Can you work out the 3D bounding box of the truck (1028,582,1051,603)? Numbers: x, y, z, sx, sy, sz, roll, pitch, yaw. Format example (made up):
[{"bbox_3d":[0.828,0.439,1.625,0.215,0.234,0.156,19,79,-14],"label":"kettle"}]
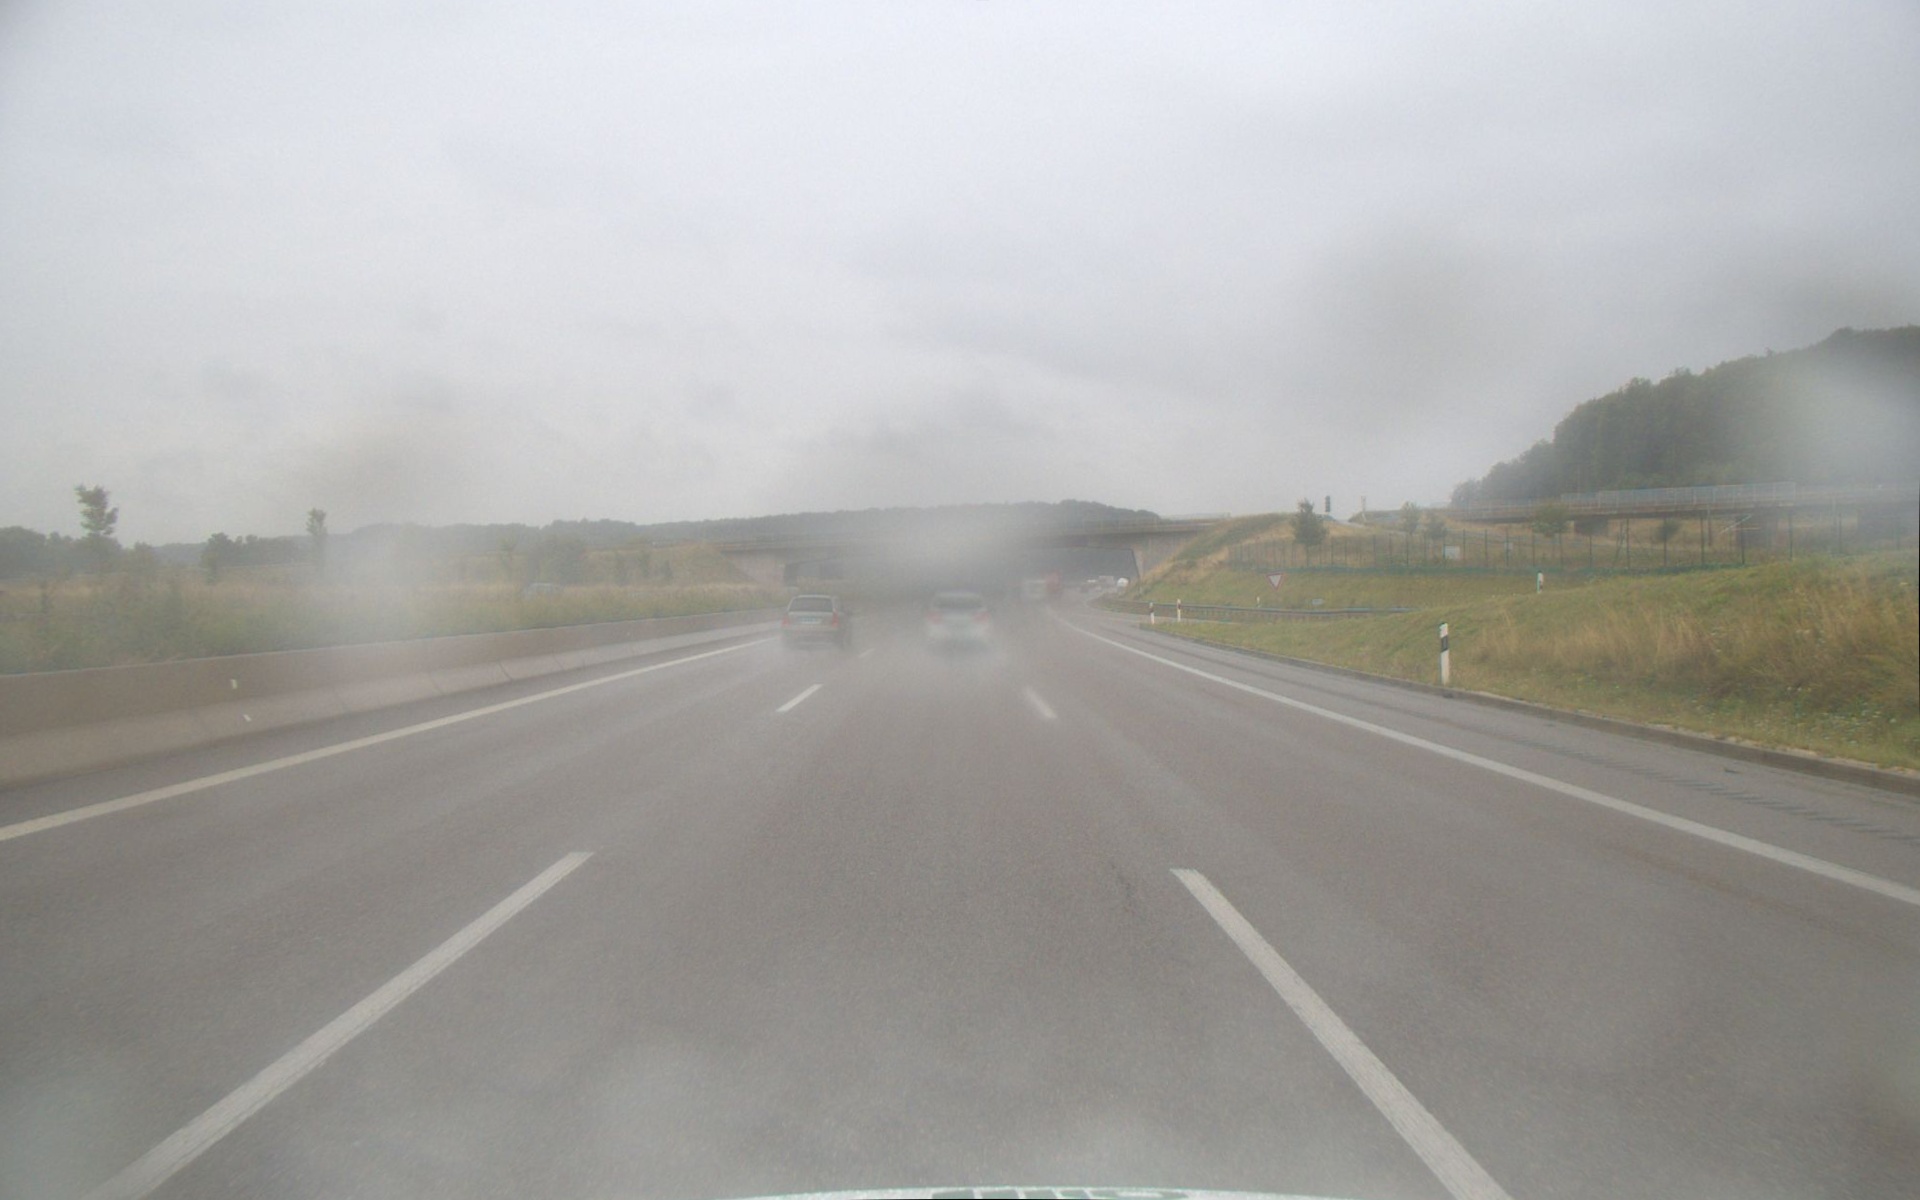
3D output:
[{"bbox_3d":[8.811,-0.837,183.276,2.357,2.291,4.696,0,0,5],"label":"truck"}]

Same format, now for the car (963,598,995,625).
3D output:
[{"bbox_3d":[1.231,0.706,106.104,1.952,1.646,4.001,1,0,2],"label":"car"}]

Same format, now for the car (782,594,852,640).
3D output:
[{"bbox_3d":[-3.946,0.474,46.142,1.787,1.176,4.210,1,-1,-3],"label":"car"}]

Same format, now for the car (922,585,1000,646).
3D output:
[{"bbox_3d":[-0.018,0.388,42.549,1.830,1.488,3.998,1,0,-2],"label":"car"}]

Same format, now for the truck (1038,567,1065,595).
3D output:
[{"bbox_3d":[13.047,-2.792,237.454,3.454,3.808,11.429,1,1,1],"label":"truck"}]
